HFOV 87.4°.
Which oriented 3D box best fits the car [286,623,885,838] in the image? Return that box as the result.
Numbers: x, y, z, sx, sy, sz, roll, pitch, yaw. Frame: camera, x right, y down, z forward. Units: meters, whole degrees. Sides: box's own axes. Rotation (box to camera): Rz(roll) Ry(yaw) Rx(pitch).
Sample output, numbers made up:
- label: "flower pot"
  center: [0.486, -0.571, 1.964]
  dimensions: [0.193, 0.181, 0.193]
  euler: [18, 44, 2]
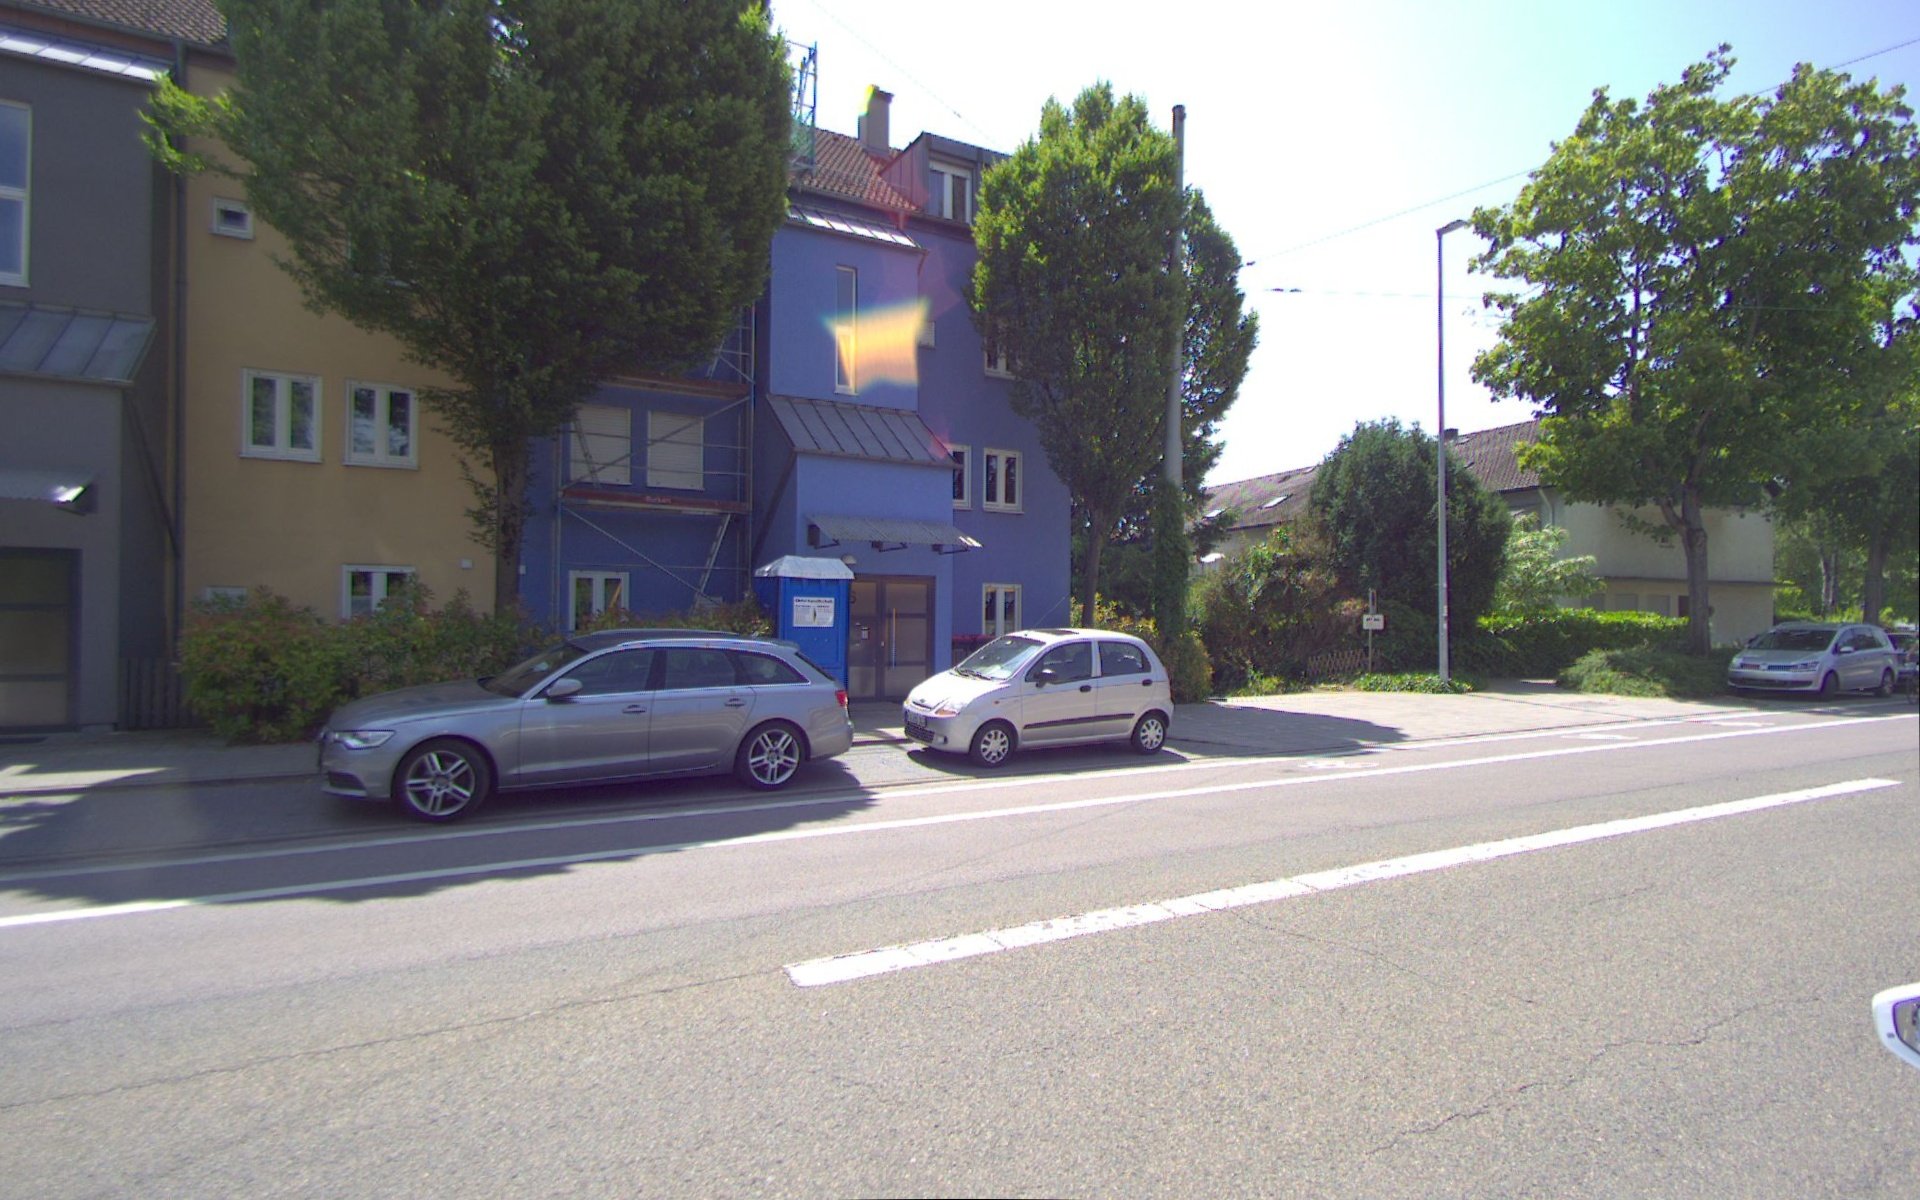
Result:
- label: "car"
  center: [-3.398, 1.044, 9.714]
  dimensions: [5.074, 1.470, 1.777]
  euler: [0, 3, -31]

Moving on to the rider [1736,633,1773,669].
- label: "rider"
  center: [31.046, 1.983, 39.246]
  dimensions: [0.800, 1.392, 0.824]
  euler: [1, -1, -21]

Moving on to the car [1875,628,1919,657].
- label: "car"
  center: [53.079, 2.323, 54.829]
  dimensions: [1.891, 1.606, 4.321]
  euler: [1, -2, -31]

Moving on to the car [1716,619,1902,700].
- label: "car"
  center: [19.687, 1.296, 23.249]
  dimensions: [4.725, 1.687, 1.864]
  euler: [1, -1, -31]

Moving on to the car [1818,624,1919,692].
- label: "car"
  center: [24.032, 1.434, 25.787]
  dimensions: [4.132, 1.585, 1.810]
  euler: [1, 0, -31]

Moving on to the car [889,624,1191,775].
- label: "car"
  center: [1.014, 1.126, 12.474]
  dimensions: [3.408, 1.516, 1.585]
  euler: [1, 4, -30]

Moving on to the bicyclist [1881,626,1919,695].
- label: "bicyclist"
  center: [20.369, 1.291, 21.440]
  dimensions: [1.113, 1.449, 0.731]
  euler: [1, -4, -33]

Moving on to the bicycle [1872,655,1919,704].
- label: "bicycle"
  center: [20.327, 1.673, 21.436]
  dimensions: [2.219, 0.963, 0.698]
  euler: [0, -3, -33]
